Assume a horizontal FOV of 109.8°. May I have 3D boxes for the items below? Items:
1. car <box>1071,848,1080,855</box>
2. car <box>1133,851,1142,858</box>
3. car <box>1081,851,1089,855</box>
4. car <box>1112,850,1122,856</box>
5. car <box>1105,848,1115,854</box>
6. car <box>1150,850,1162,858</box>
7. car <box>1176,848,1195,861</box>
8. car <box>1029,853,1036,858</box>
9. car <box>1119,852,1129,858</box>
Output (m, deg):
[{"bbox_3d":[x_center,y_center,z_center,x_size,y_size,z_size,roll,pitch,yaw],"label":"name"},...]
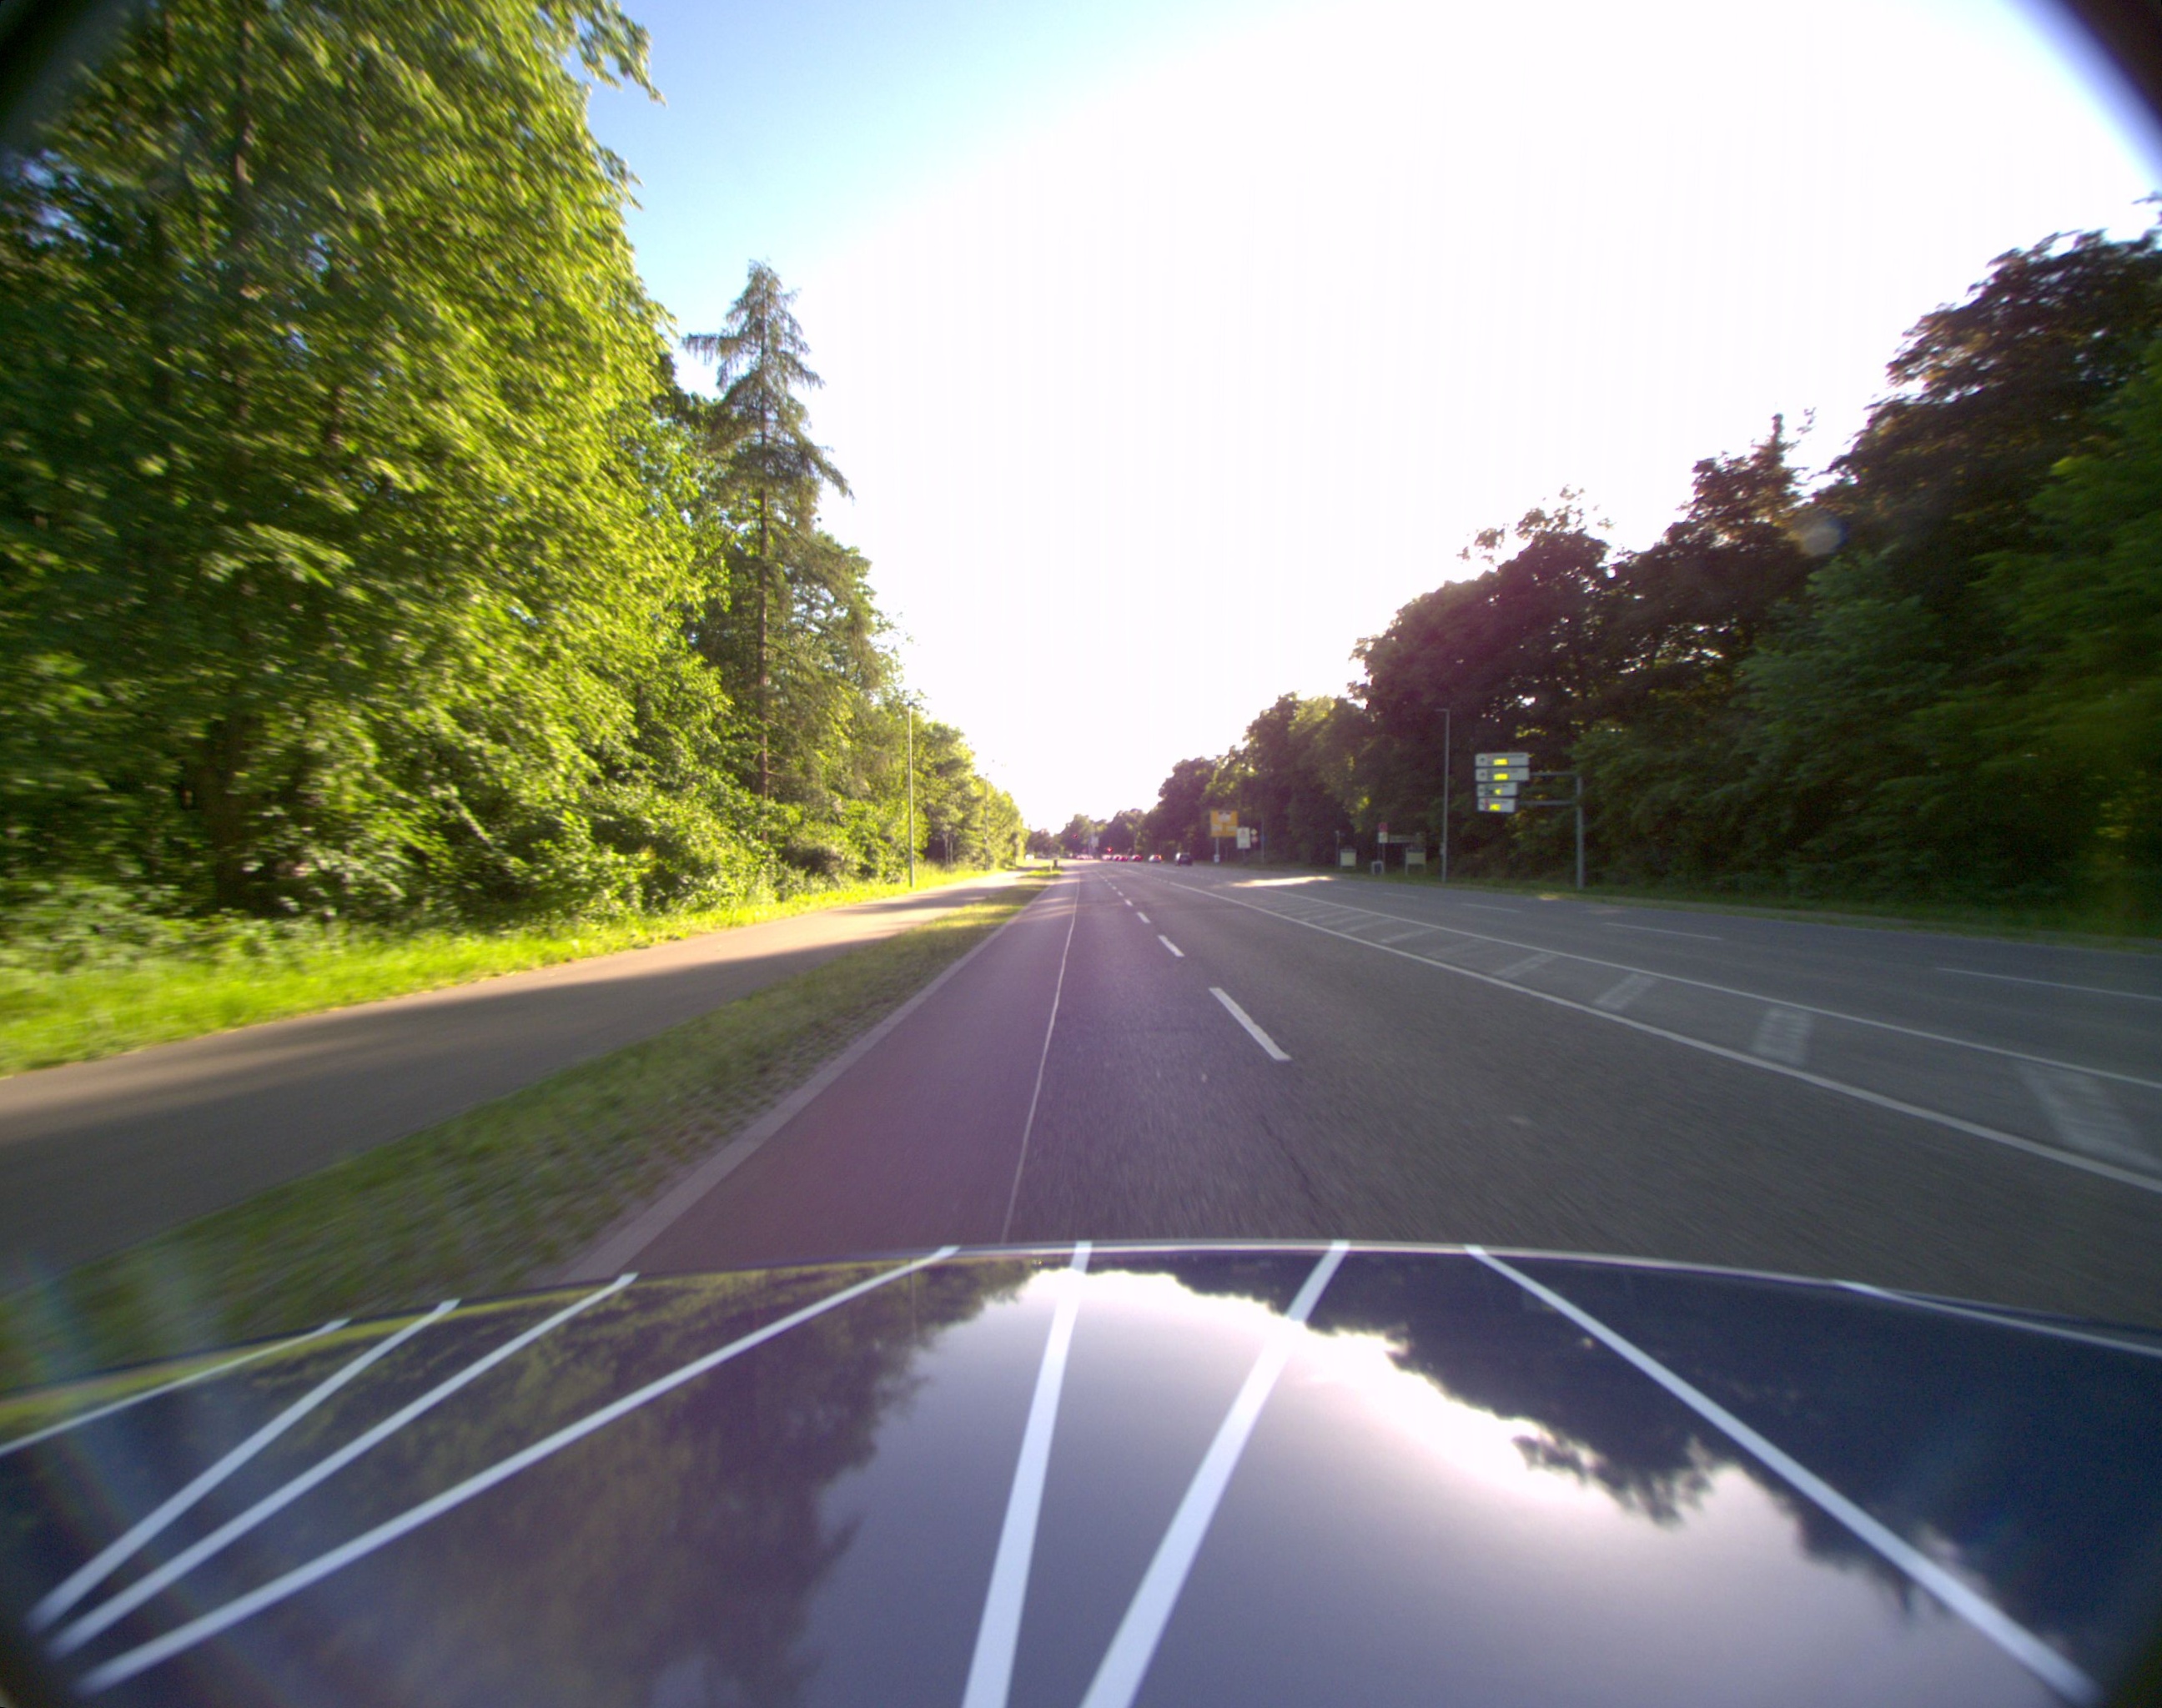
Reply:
[{"bbox_3d":[-1.706,-0.694,233.038,2.000,1.950,4.643,1,0,-9],"label":"car"},{"bbox_3d":[12.745,0.035,170.719,1.829,1.536,4.257,-1,0,2],"label":"car"},{"bbox_3d":[1.087,-0.204,218.430,1.749,1.227,4.671,0,0,-5],"label":"car"},{"bbox_3d":[9.309,-0.226,196.408,2.000,1.627,4.840,0,0,-7],"label":"car"},{"bbox_3d":[7.746,-0.767,203.744,2.000,1.555,4.645,3,0,-7],"label":"car"},{"bbox_3d":[14.470,-0.063,146.687,1.829,1.495,4.306,-1,0,0],"label":"car"},{"bbox_3d":[13.128,0.020,95.639,1.829,1.580,4.351,-1,0,0],"label":"car"},{"bbox_3d":[-16.651,0.534,261.962,2.000,1.510,3.995,-1,1,-12],"label":"car"},{"bbox_3d":[10.744,0.231,188.887,1.999,1.555,4.336,0,0,-5],"label":"car"}]
